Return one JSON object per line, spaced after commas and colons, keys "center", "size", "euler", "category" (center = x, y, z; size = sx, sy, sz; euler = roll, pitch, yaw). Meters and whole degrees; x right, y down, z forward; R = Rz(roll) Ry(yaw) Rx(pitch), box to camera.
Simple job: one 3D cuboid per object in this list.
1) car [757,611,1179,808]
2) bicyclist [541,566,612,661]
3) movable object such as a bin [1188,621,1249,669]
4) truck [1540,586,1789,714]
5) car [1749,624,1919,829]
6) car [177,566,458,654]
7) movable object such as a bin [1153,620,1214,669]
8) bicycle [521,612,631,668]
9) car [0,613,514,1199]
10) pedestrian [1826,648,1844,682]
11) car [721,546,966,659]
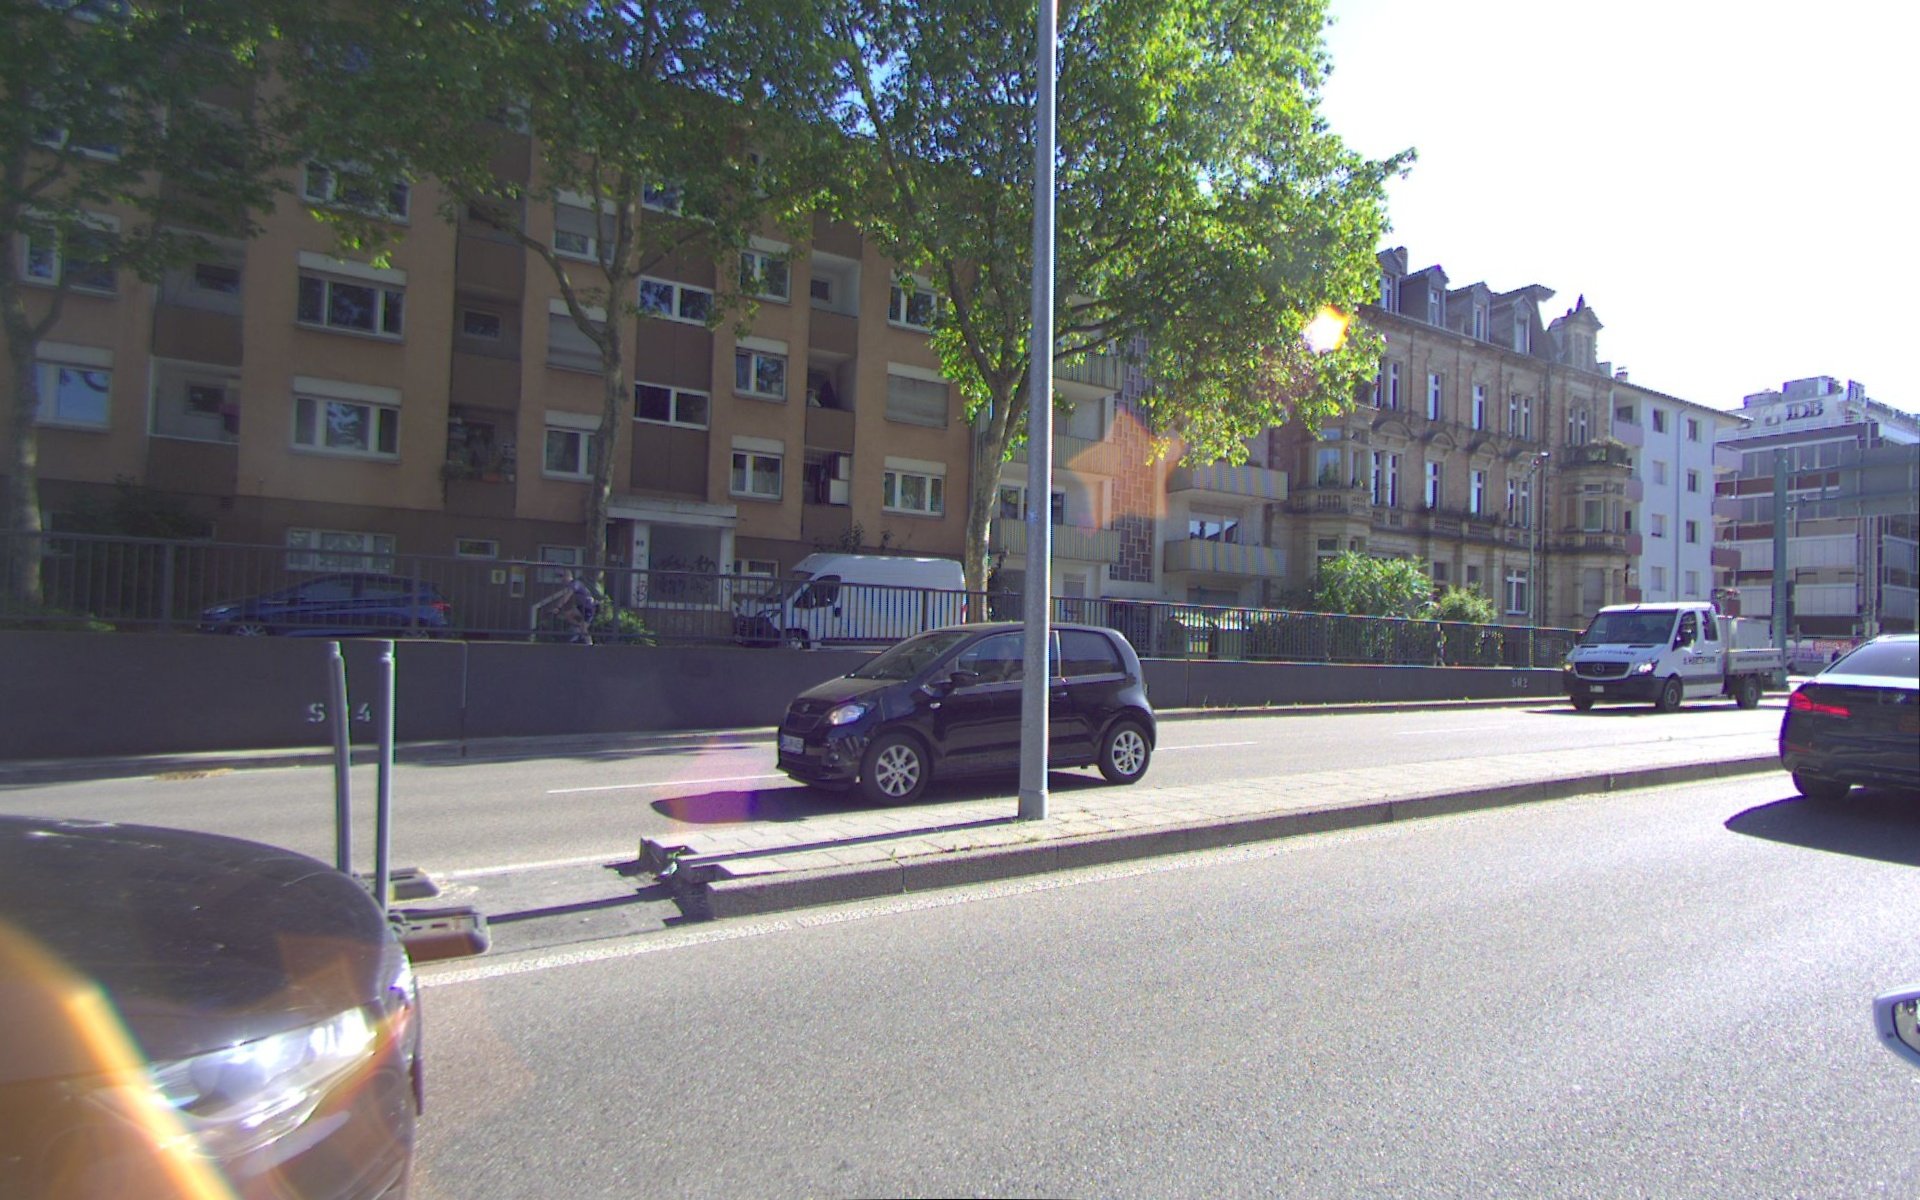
{"center": [0.121, 0.930, 9.192], "size": [3.568, 1.476, 1.601], "euler": [2, -5, -32], "category": "car"}
{"center": [-6.915, 0.247, 18.111], "size": [1.012, 1.655, 0.770], "euler": [2, 0, -34], "category": "bicyclist"}
{"center": [8.096, 1.420, 31.521], "size": [1.309, 1.421, 1.273], "euler": [2, 0, -30], "category": "movable object such as a bin"}
{"center": [15.928, 1.077, 22.606], "size": [6.056, 2.561, 2.219], "euler": [1, -2, -30], "category": "truck"}
{"center": [9.027, 1.012, 8.737], "size": [4.946, 1.458, 1.799], "euler": [2, 0, -32], "category": "car"}
{"center": [-11.636, 0.209, 18.507], "size": [4.124, 1.407, 1.983], "euler": [2, 0, -31], "category": "car"}
{"center": [6.867, 1.369, 30.946], "size": [1.286, 1.421, 1.273], "euler": [2, 0, -30], "category": "movable object such as a bin"}
{"center": [-6.919, 0.726, 18.115], "size": [1.740, 0.939, 0.652], "euler": [2, 0, -34], "category": "bicycle"}
{"center": [-2.836, 0.732, 1.404], "size": [3.845, 1.437, 1.686], "euler": [2, 0, -32], "category": "car"}
{"center": [51.063, 3.764, 58.614], "size": [0.718, 1.921, 0.652], "euler": [2, 0, -43], "category": "pedestrian"}
{"center": [-2.683, 0.123, 23.641], "size": [5.355, 2.391, 1.984], "euler": [2, 0, -30], "category": "car"}
